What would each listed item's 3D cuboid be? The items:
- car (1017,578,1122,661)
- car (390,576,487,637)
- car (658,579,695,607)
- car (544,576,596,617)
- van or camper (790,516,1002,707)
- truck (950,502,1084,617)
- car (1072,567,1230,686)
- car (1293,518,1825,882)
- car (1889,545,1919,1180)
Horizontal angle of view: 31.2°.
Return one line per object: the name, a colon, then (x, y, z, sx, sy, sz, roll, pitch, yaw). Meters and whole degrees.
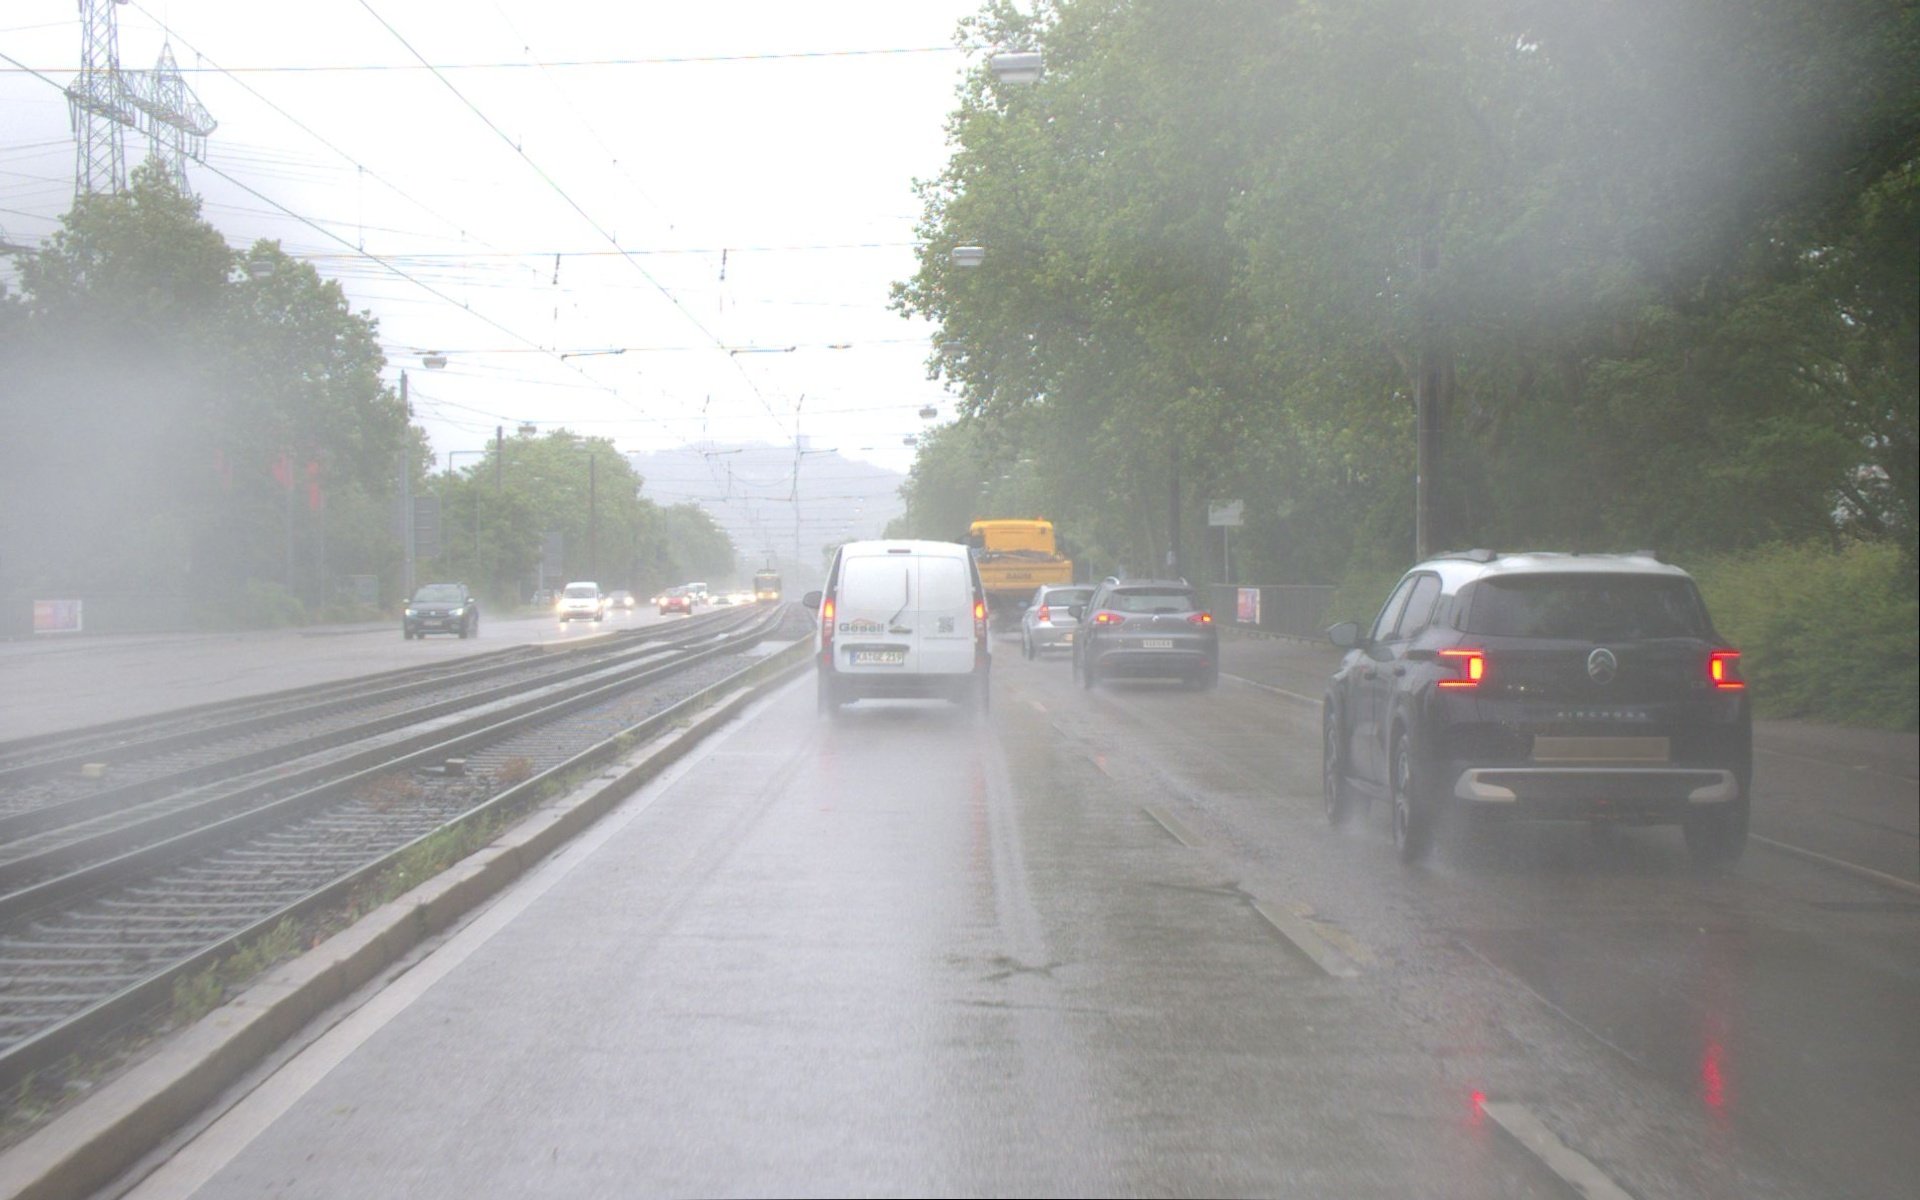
car: (2.031, 0.339, 64.835, 1.818, 1.409, 3.779, 1, 2, 0)
car: (-14.552, 0.156, 96.163, 1.993, 1.612, 4.253, -1, 1, 1)
car: (-15.783, -0.412, 191.448, 1.657, 1.481, 4.013, 0, 1, 0)
car: (-17.976, -0.177, 158.539, 1.993, 1.809, 4.659, 0, 1, -1)
van or camper: (-0.721, 0.070, 35.695, 1.993, 1.778, 4.001, 1, 2, -3)
truck: (1.380, -1.045, 86.845, 3.112, 2.764, 6.330, 0, 1, -1)
car: (2.474, 0.319, 45.300, 1.818, 1.409, 3.779, 1, 2, 0)
car: (3.130, 0.432, 18.998, 1.899, 1.711, 4.726, 1, 2, -2)
car: (3.378, 0.697, 6.526, 1.967, 1.523, 3.991, 1, 2, -3)
